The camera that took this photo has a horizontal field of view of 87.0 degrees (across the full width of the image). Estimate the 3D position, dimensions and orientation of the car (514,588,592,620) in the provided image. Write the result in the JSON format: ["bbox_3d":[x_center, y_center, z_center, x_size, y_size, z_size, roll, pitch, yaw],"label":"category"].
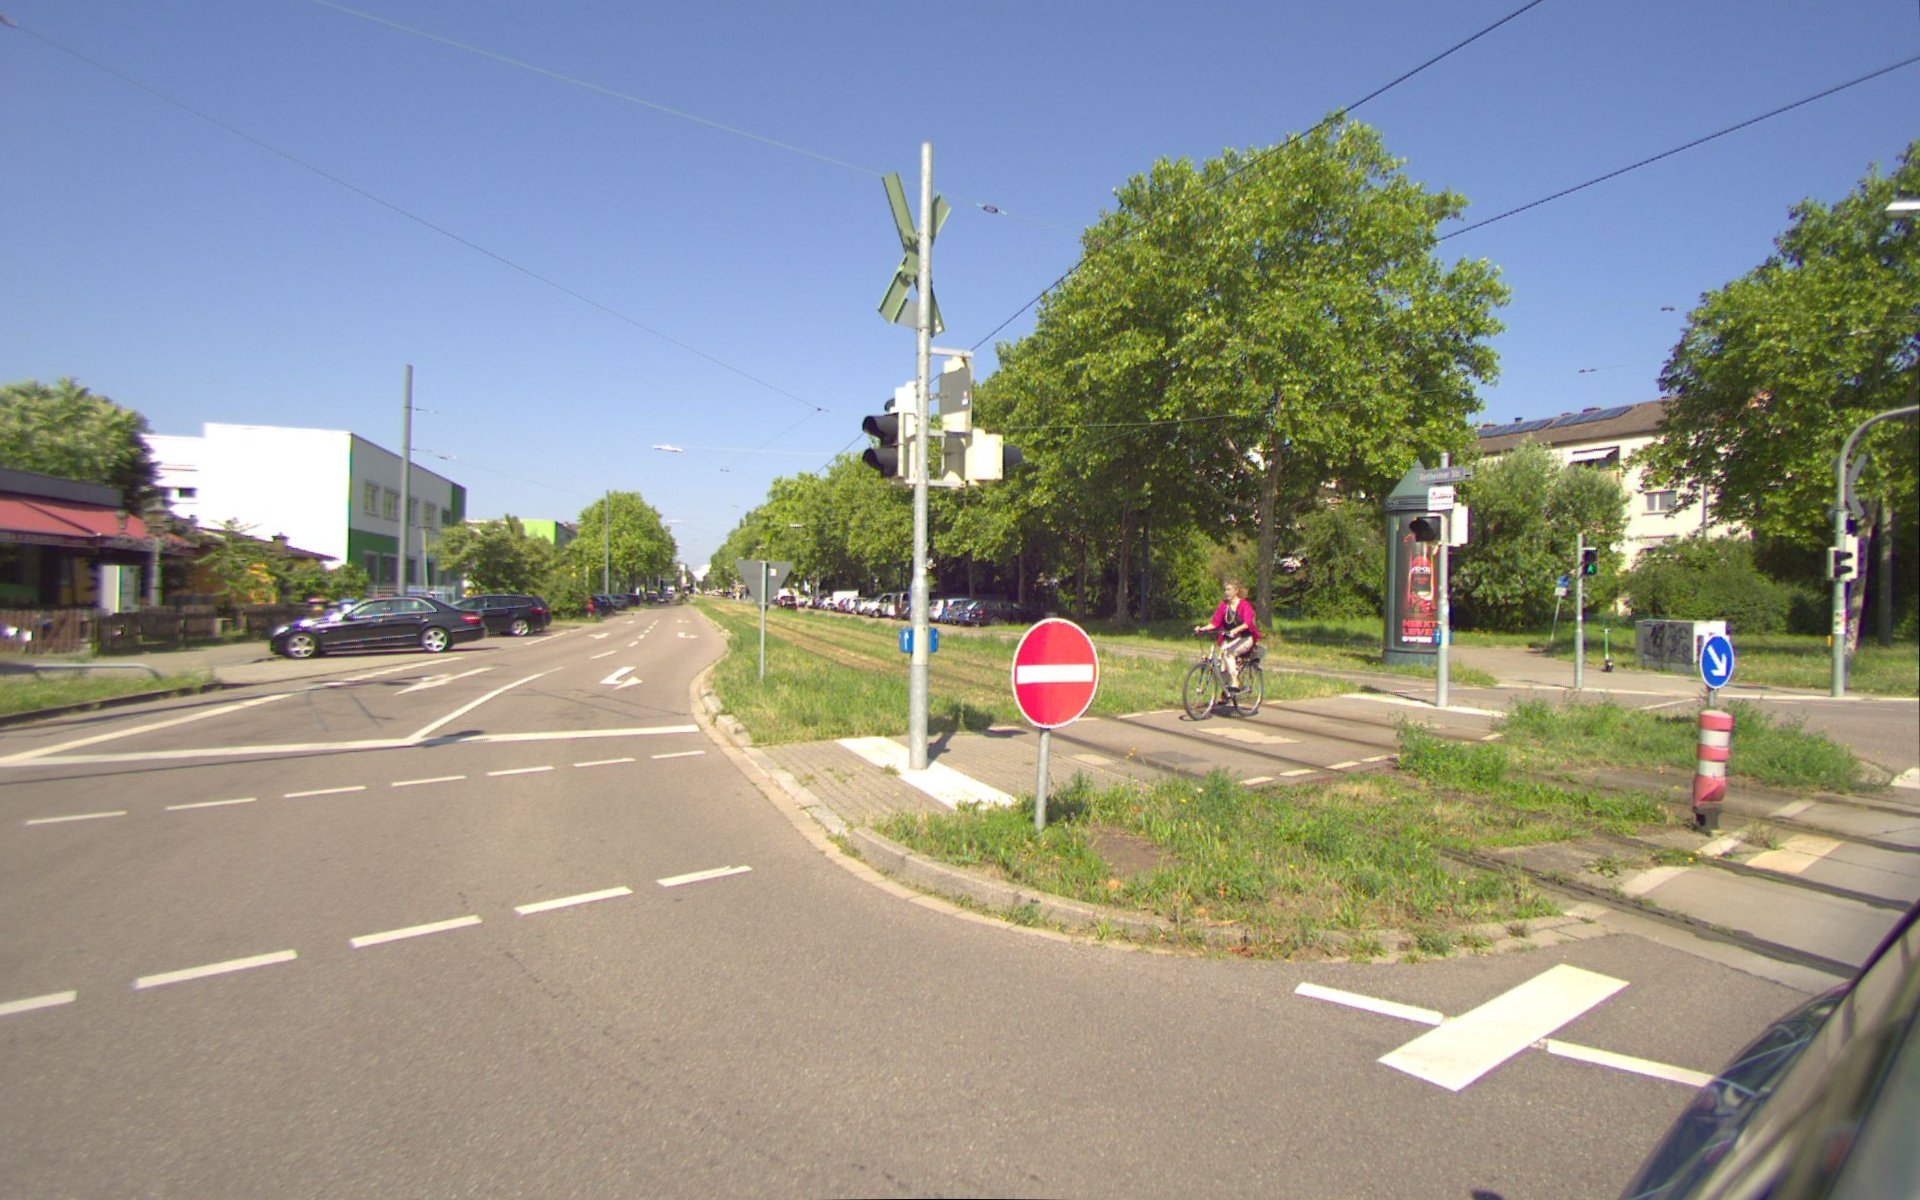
[{"bbox_3d":[-24.517,0.267,61.045,3.934,1.817,1.994,2,-2,-45],"label":"car"}]

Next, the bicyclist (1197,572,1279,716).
[{"bbox_3d":[3.638,0.551,13.218,0.797,1.809,0.701,2,-1,-45],"label":"bicyclist"}]

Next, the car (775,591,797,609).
[{"bbox_3d":[-17.837,0.019,103.542,1.756,1.676,4.007,1,-1,-15],"label":"car"}]

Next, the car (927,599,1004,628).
[{"bbox_3d":[0.316,0.835,61.798,4.264,1.654,2.003,1,-2,-25],"label":"car"}]

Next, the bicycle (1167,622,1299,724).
[{"bbox_3d":[3.581,0.903,13.154,2.090,1.200,0.691,1,0,-45],"label":"bicycle"}]

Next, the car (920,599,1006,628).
[{"bbox_3d":[0.164,0.764,56.122,4.264,1.509,2.003,1,0,-25],"label":"car"}]

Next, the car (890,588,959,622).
[{"bbox_3d":[-2.548,0.378,72.735,4.493,2.318,2.004,1,0,-19],"label":"car"}]

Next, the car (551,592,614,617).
[{"bbox_3d":[-28.254,0.340,75.776,3.934,1.817,1.994,2,-2,-45],"label":"car"}]

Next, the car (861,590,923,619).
[{"bbox_3d":[-5.494,0.350,81.357,4.494,2.237,2.003,1,0,-25],"label":"car"}]

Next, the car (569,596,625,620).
[{"bbox_3d":[-25.439,0.565,70.954,1.560,1.555,3.396,1,0,39],"label":"car"}]

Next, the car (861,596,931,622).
[{"bbox_3d":[-4.353,0.637,68.702,4.264,1.653,2.003,1,0,-25],"label":"car"}]

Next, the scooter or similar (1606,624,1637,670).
[{"bbox_3d":[17.778,1.248,27.226,0.512,1.156,1.433,-1,0,26],"label":"scooter or similar"}]

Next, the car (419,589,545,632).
[{"bbox_3d":[-19.186,0.421,40.725,4.135,1.640,2.138,1,-1,-43],"label":"car"}]

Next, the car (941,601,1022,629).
[{"bbox_3d":[1.283,0.864,59.238,4.264,1.509,2.003,1,0,-25],"label":"car"}]

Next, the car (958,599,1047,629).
[{"bbox_3d":[2.243,0.761,53.620,4.264,1.509,2.003,1,0,-25],"label":"car"}]

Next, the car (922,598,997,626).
[{"bbox_3d":[-0.047,0.763,63.958,4.264,1.653,2.003,1,0,-25],"label":"car"}]

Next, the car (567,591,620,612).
[{"bbox_3d":[-32.268,0.142,89.221,3.934,1.817,1.994,2,-2,-45],"label":"car"}]

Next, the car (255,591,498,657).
[{"bbox_3d":[-14.432,0.546,25.416,5.012,1.517,2.147,0,1,-21],"label":"car"}]

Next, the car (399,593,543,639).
[{"bbox_3d":[-17.131,0.542,35.541,4.135,1.518,2.138,1,-1,-43],"label":"car"}]

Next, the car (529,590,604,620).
[{"bbox_3d":[-24.940,0.324,64.199,3.934,1.817,1.994,2,-2,-45],"label":"car"}]
